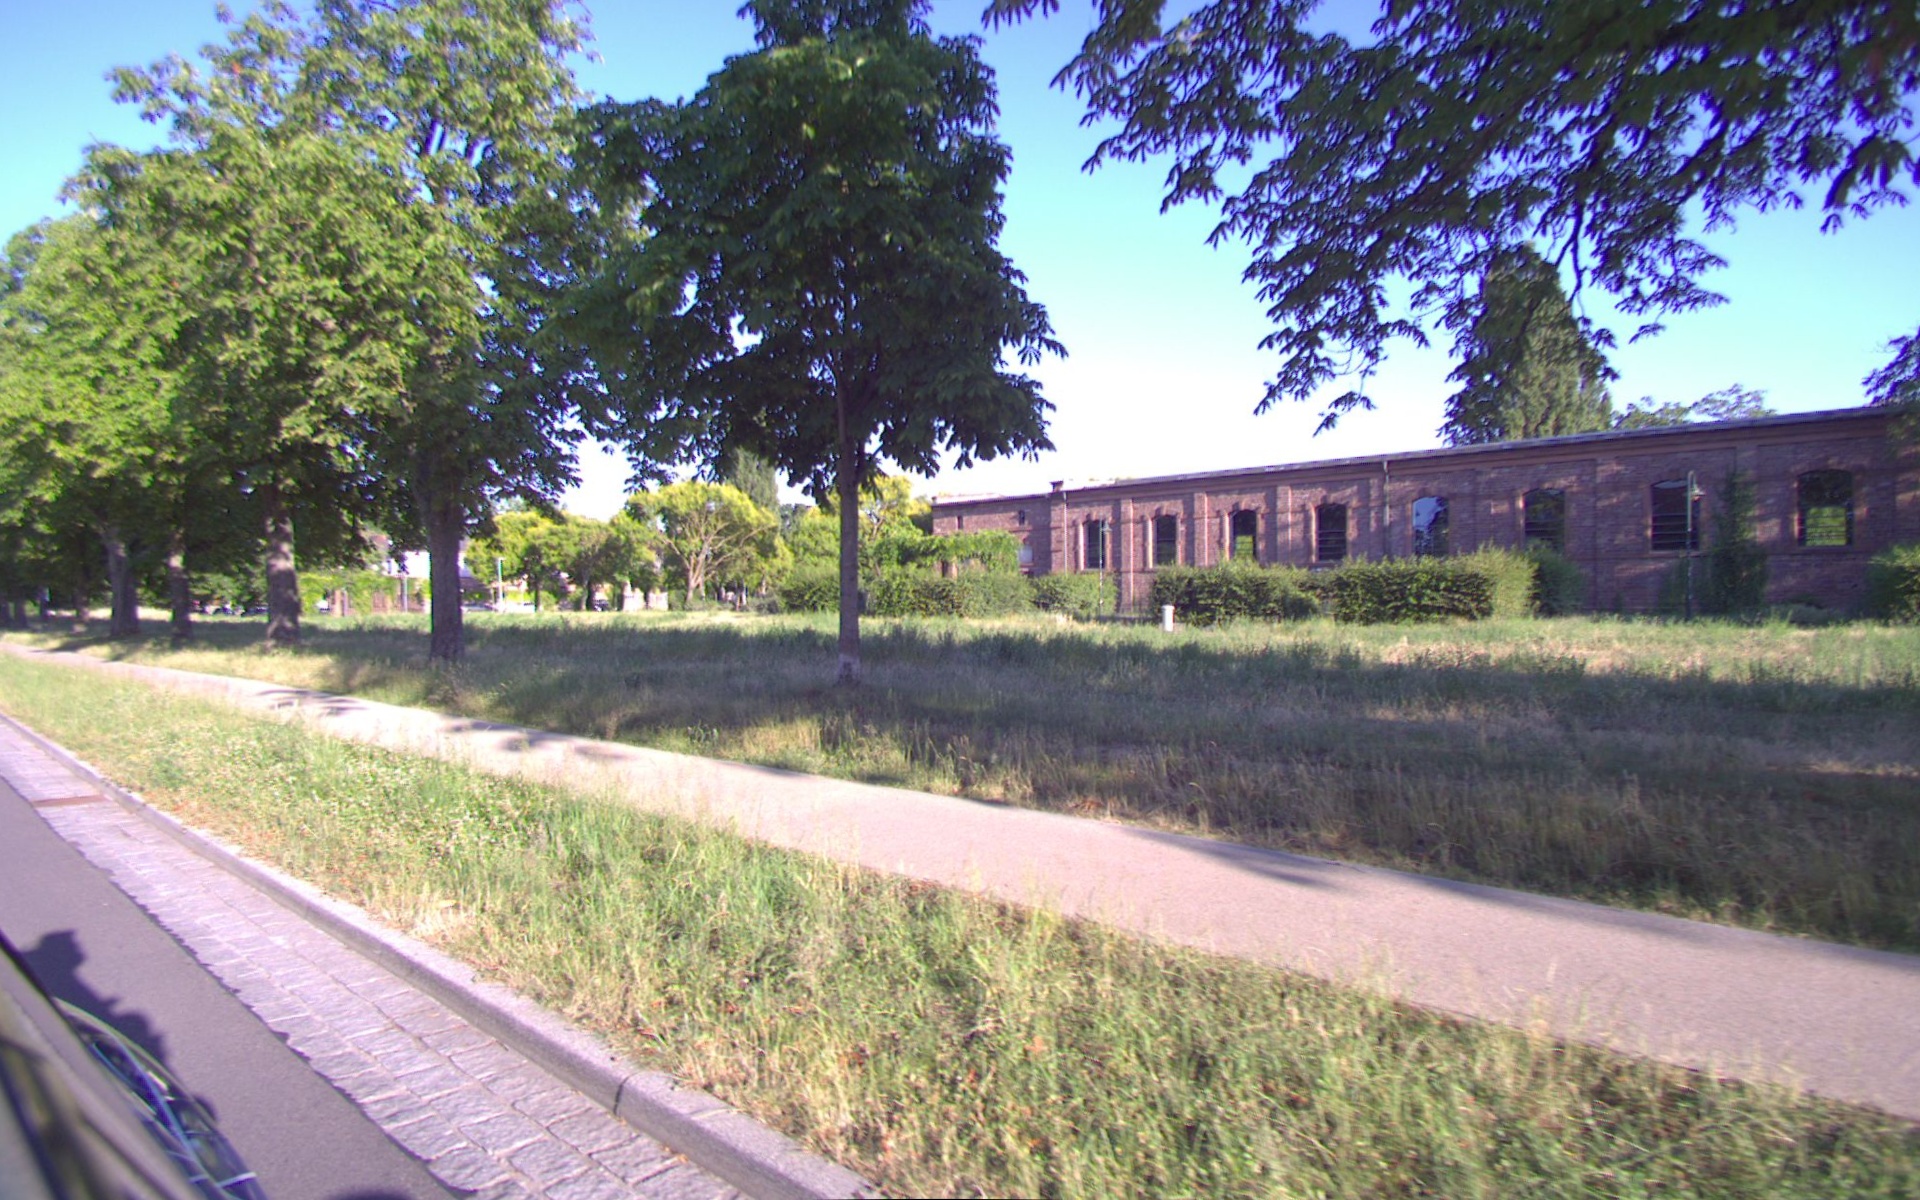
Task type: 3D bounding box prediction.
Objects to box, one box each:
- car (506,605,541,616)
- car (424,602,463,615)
[{"bbox_3d":[-52.395,1.246,121.481,1.586,1.289,3.589,0,1,42],"label":"car"},{"bbox_3d":[-57.935,0.919,113.628,1.586,1.289,3.589,0,1,42],"label":"car"}]
